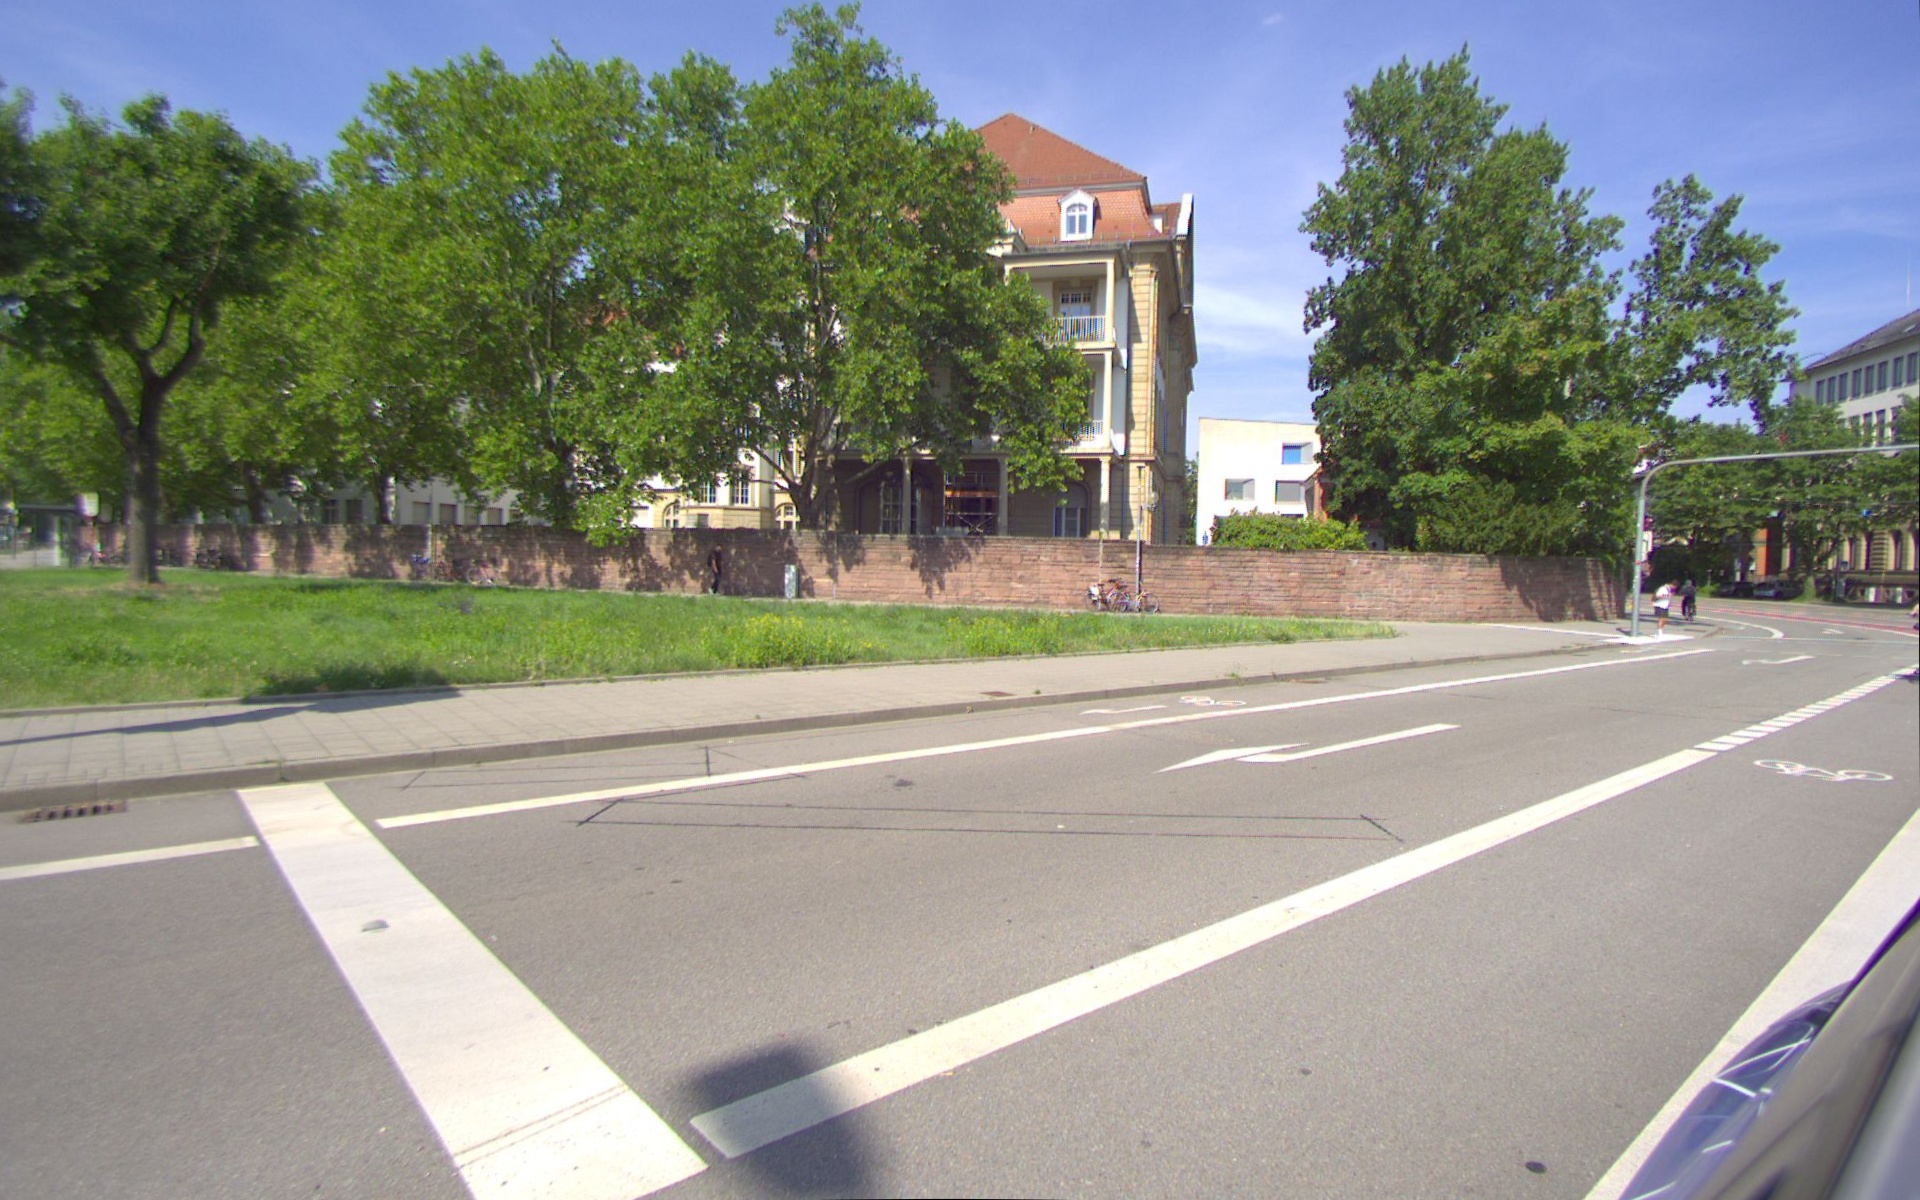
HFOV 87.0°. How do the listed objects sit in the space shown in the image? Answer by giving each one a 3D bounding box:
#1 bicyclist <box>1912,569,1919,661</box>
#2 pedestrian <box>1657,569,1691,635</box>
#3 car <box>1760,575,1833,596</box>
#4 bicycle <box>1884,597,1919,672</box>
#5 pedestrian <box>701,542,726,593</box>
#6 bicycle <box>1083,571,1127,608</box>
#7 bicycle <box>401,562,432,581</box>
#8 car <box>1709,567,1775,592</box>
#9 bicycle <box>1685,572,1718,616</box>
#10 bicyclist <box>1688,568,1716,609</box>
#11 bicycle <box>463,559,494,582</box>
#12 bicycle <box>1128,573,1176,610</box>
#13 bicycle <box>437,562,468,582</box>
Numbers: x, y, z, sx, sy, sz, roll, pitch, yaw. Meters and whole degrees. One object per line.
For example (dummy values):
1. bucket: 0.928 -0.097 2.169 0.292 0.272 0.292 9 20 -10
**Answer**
1. bicyclist: 16.595 0.263 16.959 0.580 1.567 0.926 0 1 18
2. pedestrian: 21.268 0.034 30.178 0.649 1.897 0.788 4 3 31
3. car: 67.364 -1.159 81.539 3.941 1.482 1.992 2 2 14
4. bicycle: 16.623 0.615 17.002 0.677 1.237 2.176 2 2 16
5. pedestrian: -8.663 -1.133 35.629 0.592 1.761 0.616 2 2 20
6. bicycle: 4.573 -0.332 31.913 1.406 1.136 0.350 0 2 -27
7. bicycle: -21.912 -1.146 40.819 1.350 0.737 0.338 3 2 23
8. car: 67.503 -1.782 87.386 3.941 2.038 1.992 2 2 14
9. bicycle: 31.201 -0.271 42.576 1.779 1.787 0.679 0 3 -41
10. bicyclist: 31.216 -0.492 42.582 0.903 1.675 0.679 0 3 -41
11. bicycle: -18.930 -1.149 39.795 1.294 0.866 0.369 3 2 25
12. bicycle: 6.074 -0.265 32.001 1.406 1.136 0.350 1 2 -6
13. bicycle: -20.277 -1.123 40.443 1.350 0.737 0.338 3 2 23
